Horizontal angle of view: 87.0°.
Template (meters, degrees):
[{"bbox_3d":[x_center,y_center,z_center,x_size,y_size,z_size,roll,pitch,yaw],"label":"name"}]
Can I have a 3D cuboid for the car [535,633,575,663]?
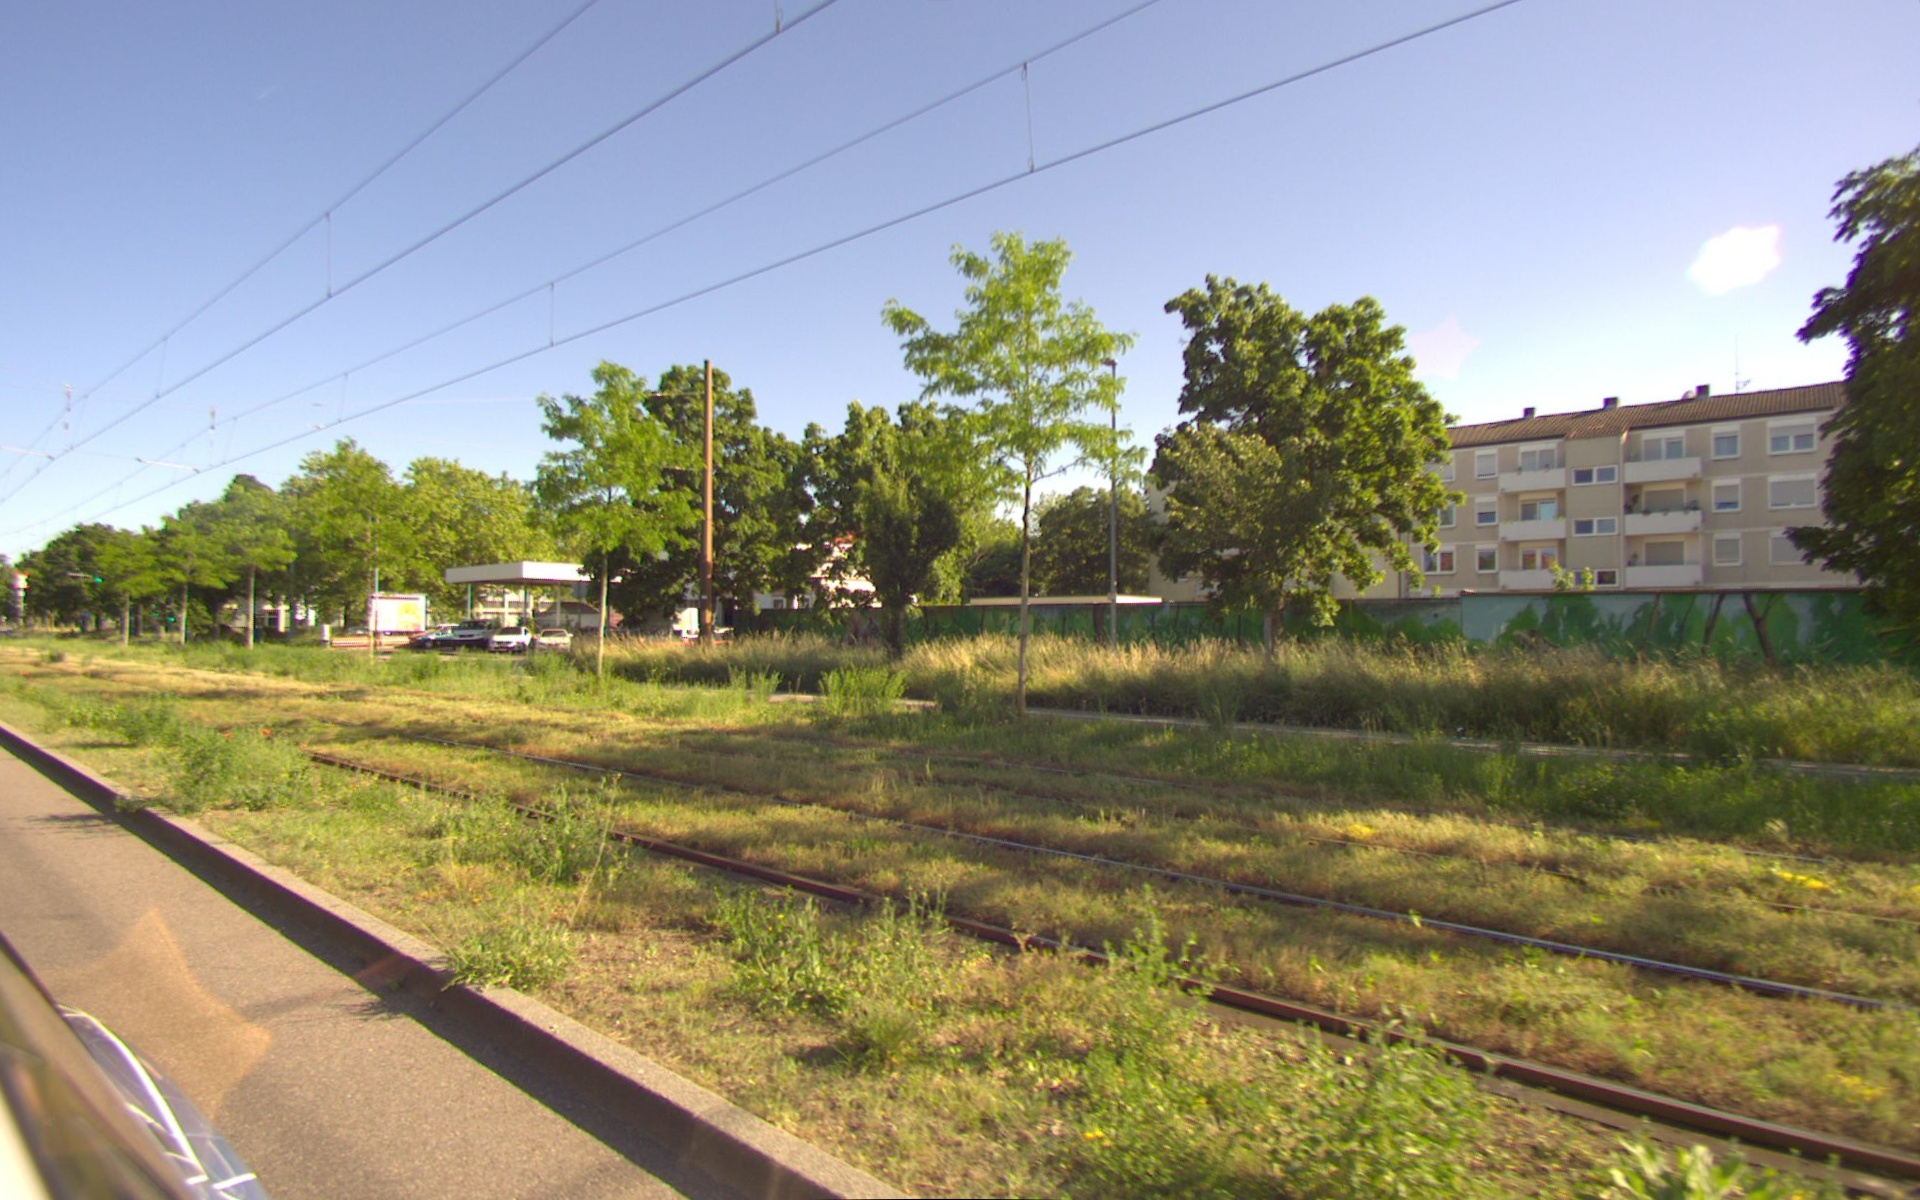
[{"bbox_3d":[-22.813,2.663,57.050,1.992,1.519,4.905,1,-1,-22],"label":"car"}]

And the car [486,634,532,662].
[{"bbox_3d":[-26.149,2.746,58.793,1.688,1.435,4.469,0,-1,-14],"label":"car"}]

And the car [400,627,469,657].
[{"bbox_3d":[-37.549,2.992,72.397,2.000,1.871,3.943,-2,0,43],"label":"car"}]

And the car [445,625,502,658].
[{"bbox_3d":[-29.529,2.539,61.608,1.868,1.925,4.820,0,-2,-10],"label":"car"}]

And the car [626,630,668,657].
[{"bbox_3d":[-18.840,2.620,61.115,1.994,1.562,4.311,1,-2,-12],"label":"car"}]

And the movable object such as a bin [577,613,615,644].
[{"bbox_3d":[-16.331,1.274,45.439,1.119,1.379,1.212,-1,-1,37],"label":"movable object such as a bin"}]

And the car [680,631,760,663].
[{"bbox_3d":[-12.409,2.387,52.506,1.704,1.521,3.778,-2,-1,41],"label":"car"}]

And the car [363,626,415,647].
[{"bbox_3d":[-55.640,3.547,98.649,1.997,1.840,4.002,-1,0,38],"label":"car"}]

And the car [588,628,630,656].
[{"bbox_3d":[-20.603,2.444,59.538,1.820,1.519,4.000,1,-1,-12],"label":"car"}]
